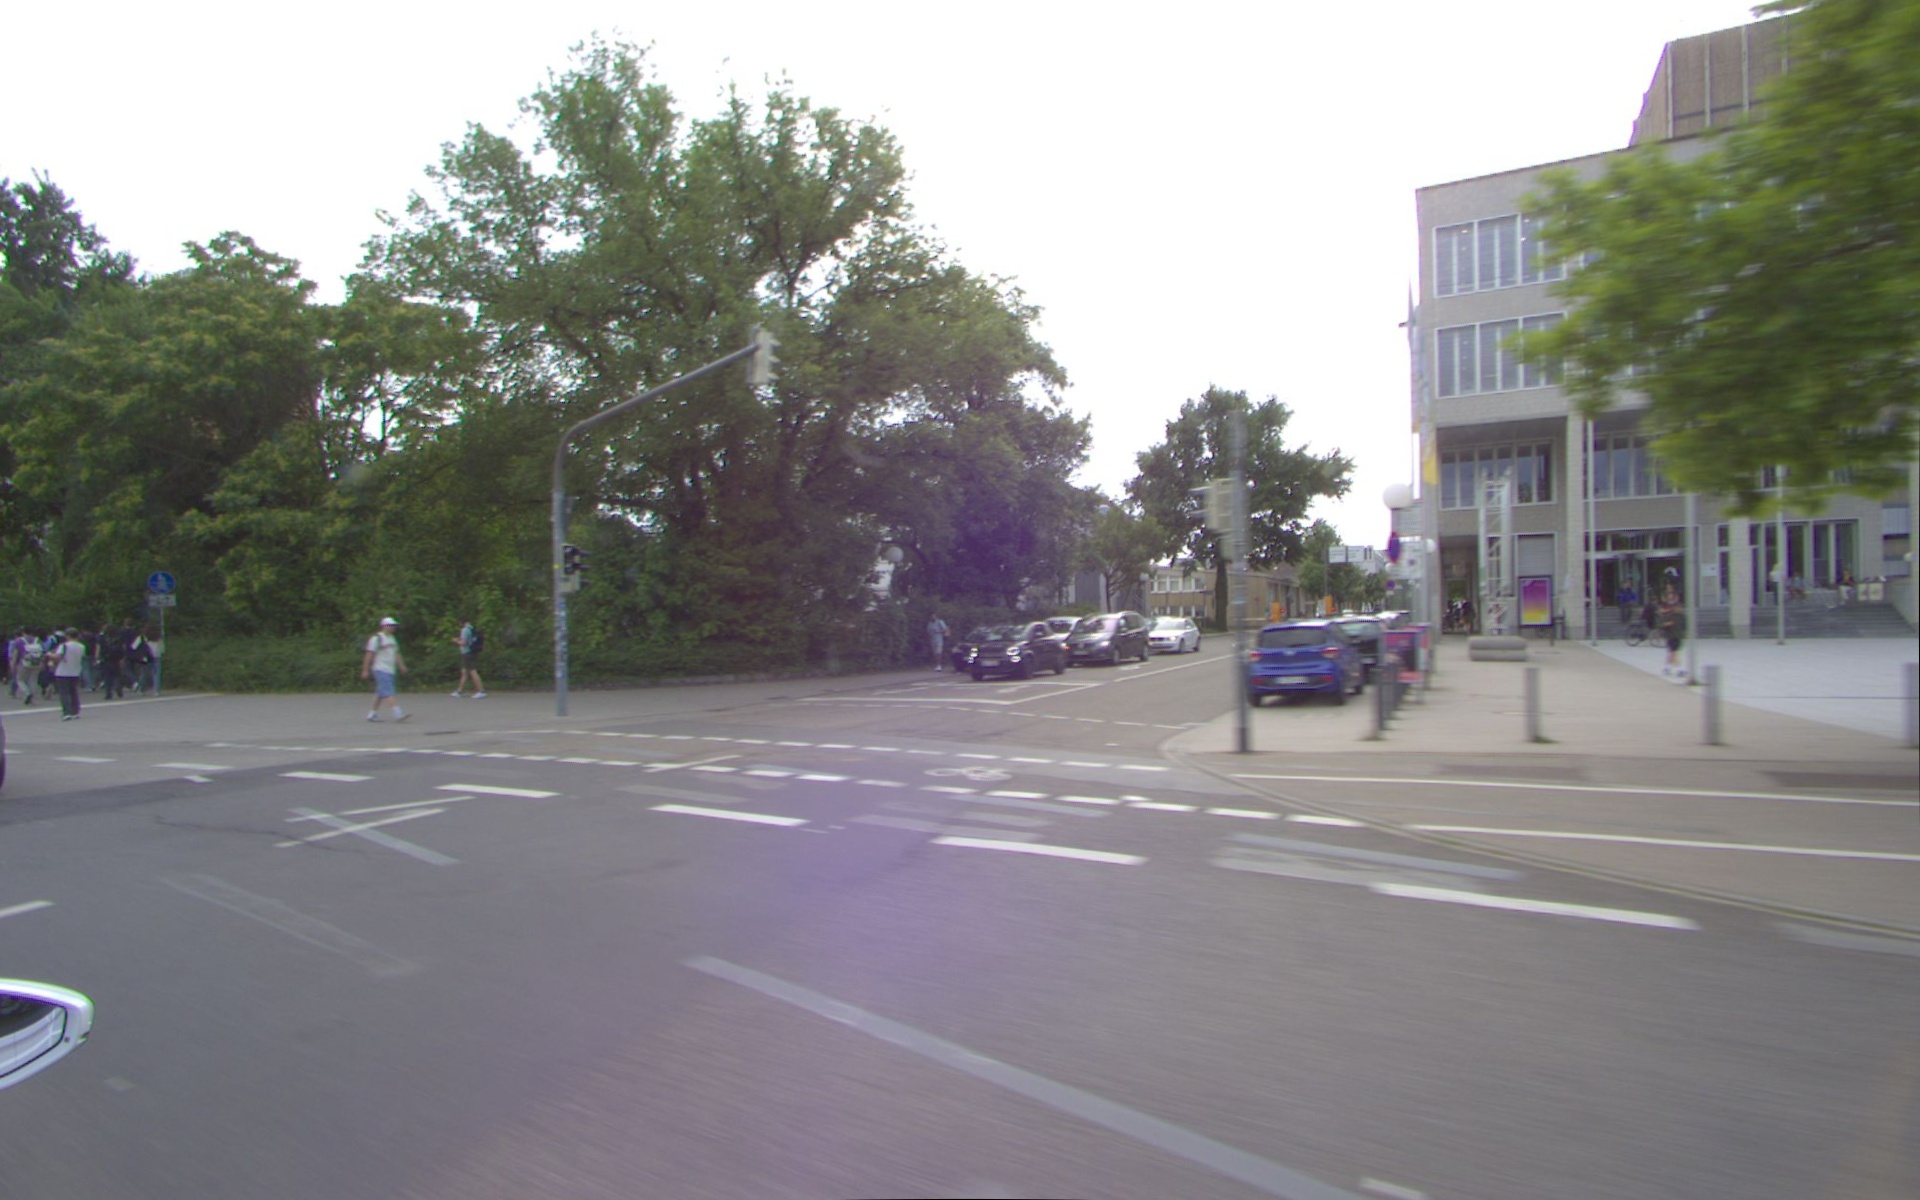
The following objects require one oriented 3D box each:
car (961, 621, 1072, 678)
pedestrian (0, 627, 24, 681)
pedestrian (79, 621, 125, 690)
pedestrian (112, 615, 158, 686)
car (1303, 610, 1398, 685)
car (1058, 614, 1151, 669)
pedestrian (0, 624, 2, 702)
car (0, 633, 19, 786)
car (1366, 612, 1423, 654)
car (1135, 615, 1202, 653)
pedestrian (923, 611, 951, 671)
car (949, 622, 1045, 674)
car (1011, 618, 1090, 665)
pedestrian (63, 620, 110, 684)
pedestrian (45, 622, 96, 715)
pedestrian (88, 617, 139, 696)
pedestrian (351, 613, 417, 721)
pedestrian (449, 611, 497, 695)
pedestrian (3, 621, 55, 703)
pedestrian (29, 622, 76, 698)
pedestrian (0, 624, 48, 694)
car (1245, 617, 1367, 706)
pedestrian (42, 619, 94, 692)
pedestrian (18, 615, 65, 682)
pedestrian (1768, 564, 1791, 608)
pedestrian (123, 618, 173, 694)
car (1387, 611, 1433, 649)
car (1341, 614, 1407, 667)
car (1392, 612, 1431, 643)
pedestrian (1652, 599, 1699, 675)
[{"bbox_3d":[1.610,1.318,27.400,1.658,1.460,3.569,-2,-2,28],"label":"car"},{"bbox_3d":[-28.856,1.637,30.271,0.774,1.604,0.634,-1,0,31],"label":"pedestrian"},{"bbox_3d":[-22.052,1.412,25.748,0.768,1.721,0.656,-1,0,29],"label":"pedestrian"},{"bbox_3d":[-20.967,1.285,25.463,0.768,1.768,0.656,-1,0,29],"label":"pedestrian"},{"bbox_3d":[9.103,1.075,23.175,1.648,1.587,3.682,-2,-2,27],"label":"car"},{"bbox_3d":[4.871,1.352,33.250,1.658,1.714,4.278,-2,-2,28],"label":"car"},{"bbox_3d":[-22.131,1.427,22.505,0.768,1.768,0.656,-1,0,29],"label":"pedestrian"},{"bbox_3d":[-11.210,1.094,10.051,3.683,1.476,1.721,-1,-1,32],"label":"car"},{"bbox_3d":[17.476,1.305,40.157,1.787,1.587,4.213,-2,-2,27],"label":"car"},{"bbox_3d":[8.494,1.366,40.626,1.658,1.460,3.769,-2,-2,28],"label":"car"},{"bbox_3d":[-0.729,1.294,31.743,0.719,1.875,0.800,-1,-1,12],"label":"pedestrian"},{"bbox_3d":[1.264,1.501,32.303,1.523,1.498,4.093,2,0,27],"label":"car"},{"bbox_3d":[3.365,1.473,36.721,1.545,1.624,3.885,-2,-1,27],"label":"car"},{"bbox_3d":[-23.591,1.399,27.055,0.956,1.688,0.656,-1,0,29],"label":"pedestrian"},{"bbox_3d":[-16.759,1.277,18.868,0.627,1.709,0.545,-1,-1,29],"label":"pedestrian"},{"bbox_3d":[-19.531,1.291,23.119,0.768,1.768,0.656,-1,0,29],"label":"pedestrian"},{"bbox_3d":[-10.255,1.179,17.839,0.814,1.876,0.646,-1,-2,17],"label":"pedestrian"},{"bbox_3d":[-10.714,1.154,22.020,0.729,1.818,0.644,-1,-1,29],"label":"pedestrian"},{"bbox_3d":[-20.552,1.356,22.100,0.768,1.768,0.623,-1,0,29],"label":"pedestrian"},{"bbox_3d":[-21.356,1.399,23.566,0.778,1.768,0.580,-1,0,29],"label":"pedestrian"},{"bbox_3d":[-22.713,1.418,24.280,0.800,1.670,0.656,-1,0,29],"label":"pedestrian"},{"bbox_3d":[6.582,1.099,18.844,1.648,1.510,3.570,-2,-2,27],"label":"car"},{"bbox_3d":[-22.358,1.381,25.110,0.943,1.790,0.656,-1,1,29],"label":"pedestrian"},{"bbox_3d":[-24.046,1.269,26.221,0.829,1.711,0.656,-1,0,29],"label":"pedestrian"},{"bbox_3d":[33.328,-0.553,40.703,0.666,1.736,0.626,1,-2,-45],"label":"pedestrian"},{"bbox_3d":[-19.256,1.317,23.748,0.768,1.768,0.656,-1,0,29],"label":"pedestrian"},{"bbox_3d":[20.179,1.348,44.824,1.648,1.587,3.975,-2,-2,27],"label":"car"},{"bbox_3d":[13.469,1.287,32.477,1.648,1.587,3.818,-2,-2,27],"label":"car"},{"bbox_3d":[24.613,1.474,54.558,1.726,1.587,3.975,-2,-2,27],"label":"car"},{"bbox_3d":[16.804,0.870,23.515,0.945,1.729,0.695,2,-2,-44],"label":"pedestrian"}]
